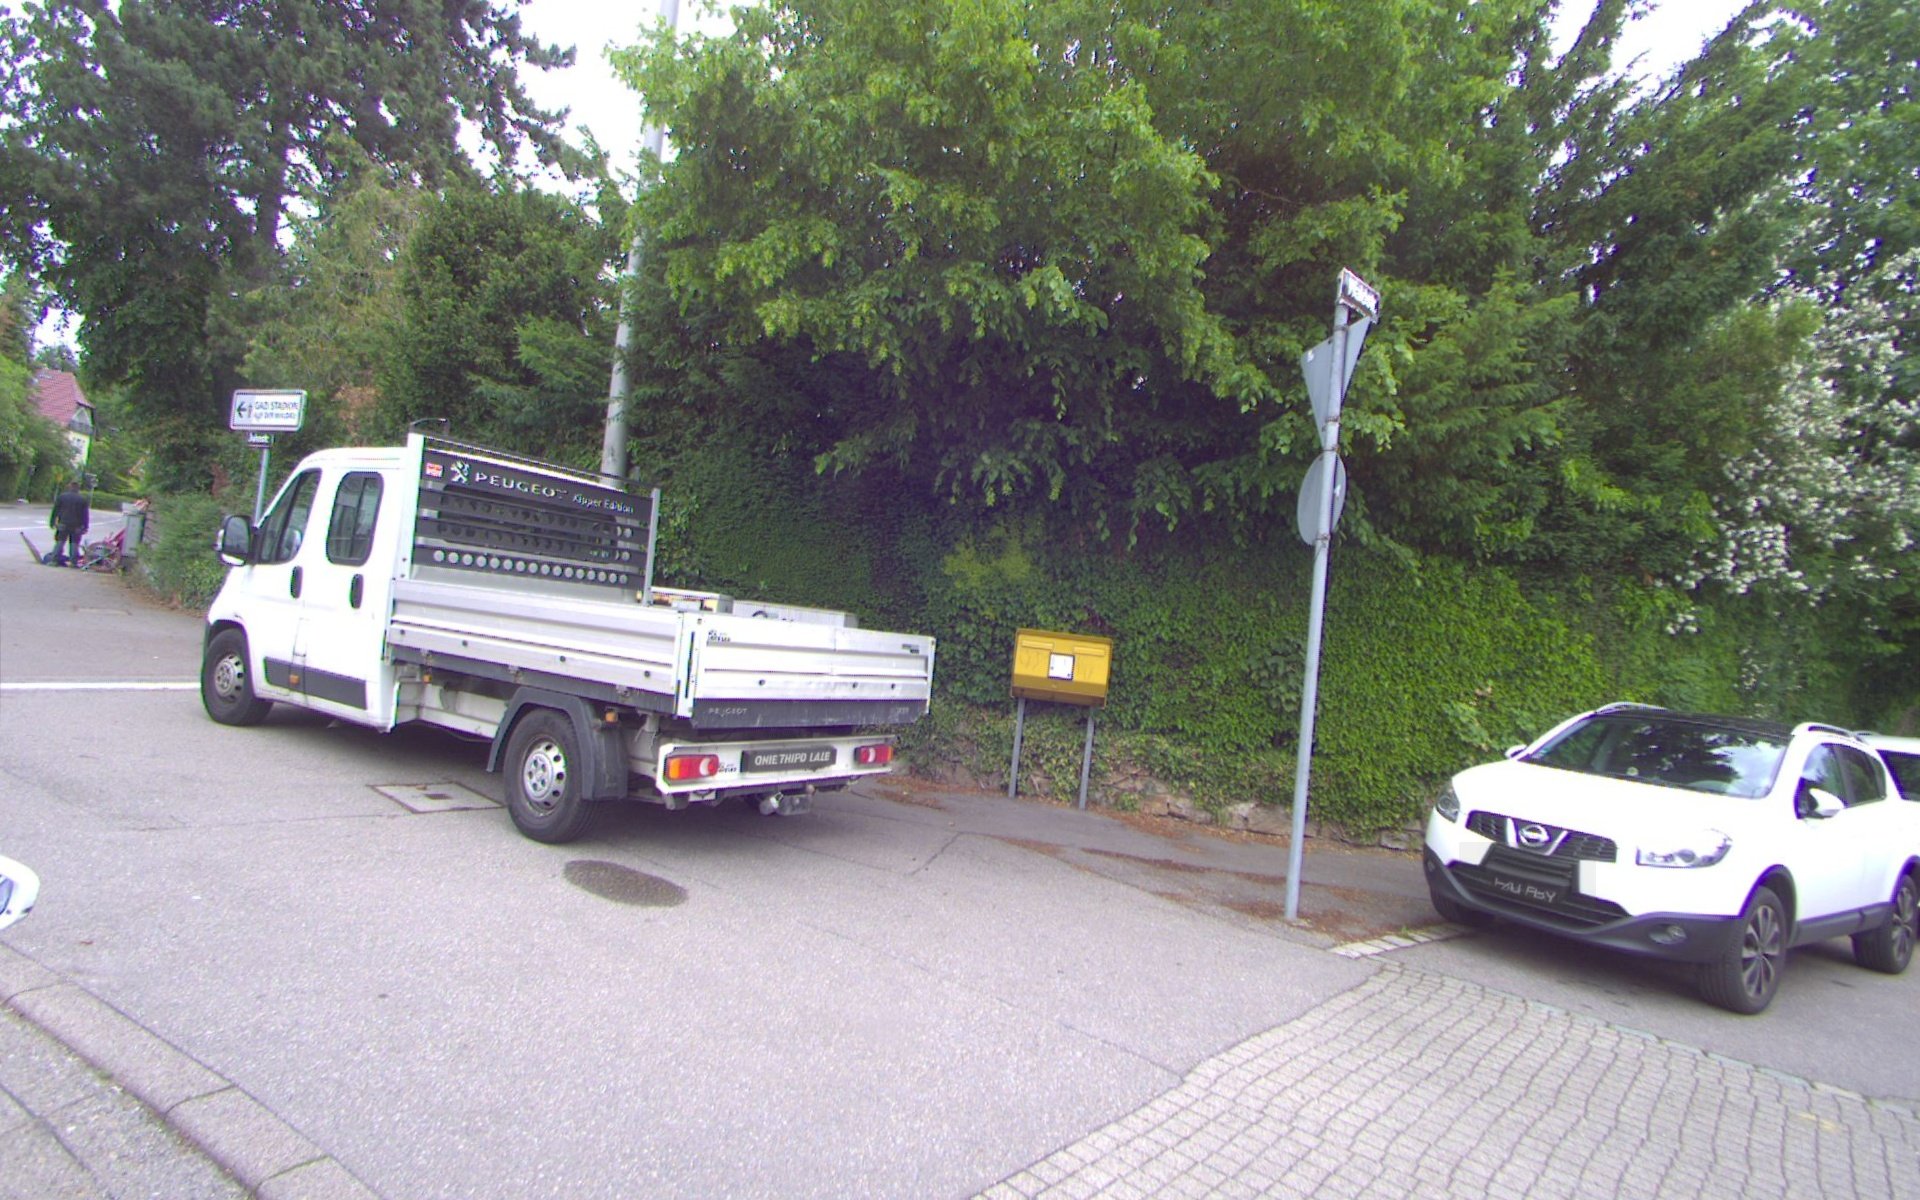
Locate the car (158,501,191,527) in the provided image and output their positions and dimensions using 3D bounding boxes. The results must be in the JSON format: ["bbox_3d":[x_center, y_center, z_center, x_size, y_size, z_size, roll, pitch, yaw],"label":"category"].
[{"bbox_3d":[-75.829,-8.271,97.159,1.982,2.037,3.964,8,-2,-34],"label":"car"}]

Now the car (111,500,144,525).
[{"bbox_3d":[-69.345,-7.245,83.860,1.798,1.775,4.441,7,0,-37],"label":"car"}]

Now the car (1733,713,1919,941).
[{"bbox_3d":[9.039,2.116,9.476,4.041,1.641,1.781,9,-3,-38],"label":"car"}]

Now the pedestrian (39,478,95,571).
[{"bbox_3d":[-19.631,-1.658,22.120,0.549,1.929,0.597,7,-1,32],"label":"pedestrian"}]

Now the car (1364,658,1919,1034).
[{"bbox_3d":[4.760,1.470,6.663,4.098,1.641,1.783,9,-2,-34],"label":"car"}]

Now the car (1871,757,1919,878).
[{"bbox_3d":[13.847,2.998,13.449,4.040,1.440,1.781,8,-2,-38],"label":"car"}]

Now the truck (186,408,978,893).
[{"bbox_3d":[-2.940,0.085,7.167,5.631,2.270,2.211,6,-2,34],"label":"truck"}]
